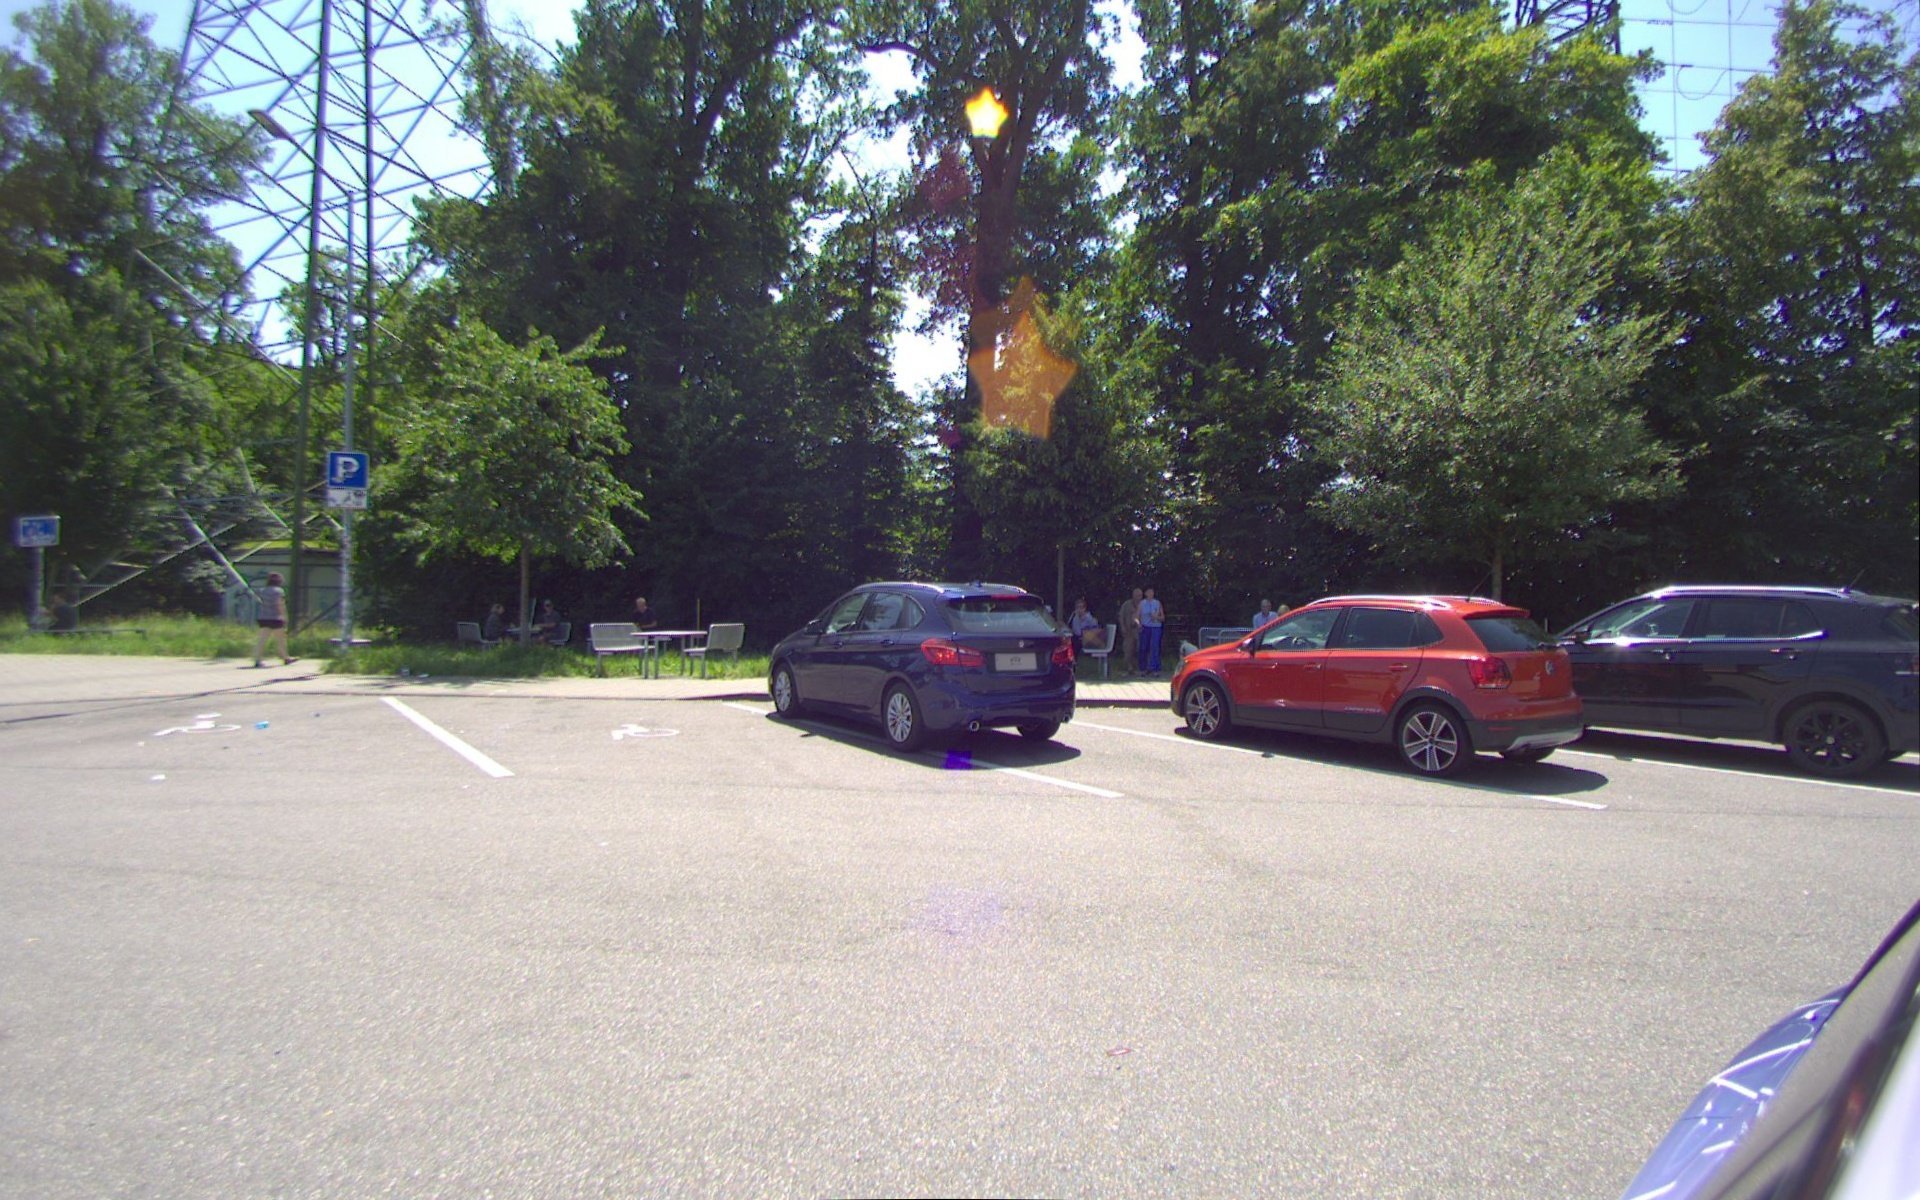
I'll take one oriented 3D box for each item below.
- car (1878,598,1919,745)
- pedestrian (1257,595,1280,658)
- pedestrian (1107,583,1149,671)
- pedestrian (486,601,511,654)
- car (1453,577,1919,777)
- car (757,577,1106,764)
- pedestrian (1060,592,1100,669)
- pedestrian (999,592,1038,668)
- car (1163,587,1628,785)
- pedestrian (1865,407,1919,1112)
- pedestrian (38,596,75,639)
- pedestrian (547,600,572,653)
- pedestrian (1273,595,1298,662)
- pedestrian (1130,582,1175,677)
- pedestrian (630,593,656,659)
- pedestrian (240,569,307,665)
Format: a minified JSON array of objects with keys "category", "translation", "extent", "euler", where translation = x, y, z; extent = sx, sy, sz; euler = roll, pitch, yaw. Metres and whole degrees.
[{"category":"car","translation":[10.901,0.700,9.008],"extent":[1.620,1.420,3.826],"euler":[0,0,-37]},{"category":"pedestrian","translation":[5.825,0.491,19.124],"extent":[0.350,1.180,0.384],"euler":[0,0,8]},{"category":"pedestrian","translation":[3.154,0.497,19.036],"extent":[0.634,1.625,0.573],"euler":[0,0,-5]},{"category":"pedestrian","translation":[-10.428,0.614,22.858],"extent":[0.452,1.182,0.447],"euler":[0,0,-34]},{"category":"car","translation":[7.101,0.590,9.863],"extent":[1.620,1.575,3.826],"euler":[0,0,-37]},{"category":"car","translation":[-0.537,0.549,10.787],"extent":[1.714,1.572,4.347],"euler":[0,1,-33]},{"category":"pedestrian","translation":[2.008,0.493,16.855],"extent":[0.586,1.261,0.498],"euler":[0,0,16]},{"category":"pedestrian","translation":[0.994,0.495,17.111],"extent":[0.586,1.261,0.445],"euler":[0,0,16]},{"category":"car","translation":[3.885,0.632,9.647],"extent":[1.619,1.487,3.830],"euler":[0,0,-33]},{"category":"pedestrian","translation":[3.076,0.450,2.523],"extent":[0.799,1.974,0.920],"euler":[0,0,2]},{"category":"pedestrian","translation":[-20.946,0.398,23.459],"extent":[0.452,0.987,0.447],"euler":[0,0,-2]},{"category":"pedestrian","translation":[-9.339,0.615,23.599],"extent":[0.452,1.209,0.447],"euler":[0,0,-34]},{"category":"pedestrian","translation":[5.776,0.503,17.948],"extent":[0.350,1.180,0.384],"euler":[0,0,8]},{"category":"pedestrian","translation":[3.375,0.508,17.792],"extent":[0.634,1.625,0.573],"euler":[0,0,-5]},{"category":"pedestrian","translation":[-6.681,0.546,21.346],"extent":[0.438,1.363,0.462],"euler":[0,0,-5]},{"category":"pedestrian","translation":[-12.190,0.292,17.982],"extent":[0.677,1.670,0.712],"euler":[0,0,14]}]
